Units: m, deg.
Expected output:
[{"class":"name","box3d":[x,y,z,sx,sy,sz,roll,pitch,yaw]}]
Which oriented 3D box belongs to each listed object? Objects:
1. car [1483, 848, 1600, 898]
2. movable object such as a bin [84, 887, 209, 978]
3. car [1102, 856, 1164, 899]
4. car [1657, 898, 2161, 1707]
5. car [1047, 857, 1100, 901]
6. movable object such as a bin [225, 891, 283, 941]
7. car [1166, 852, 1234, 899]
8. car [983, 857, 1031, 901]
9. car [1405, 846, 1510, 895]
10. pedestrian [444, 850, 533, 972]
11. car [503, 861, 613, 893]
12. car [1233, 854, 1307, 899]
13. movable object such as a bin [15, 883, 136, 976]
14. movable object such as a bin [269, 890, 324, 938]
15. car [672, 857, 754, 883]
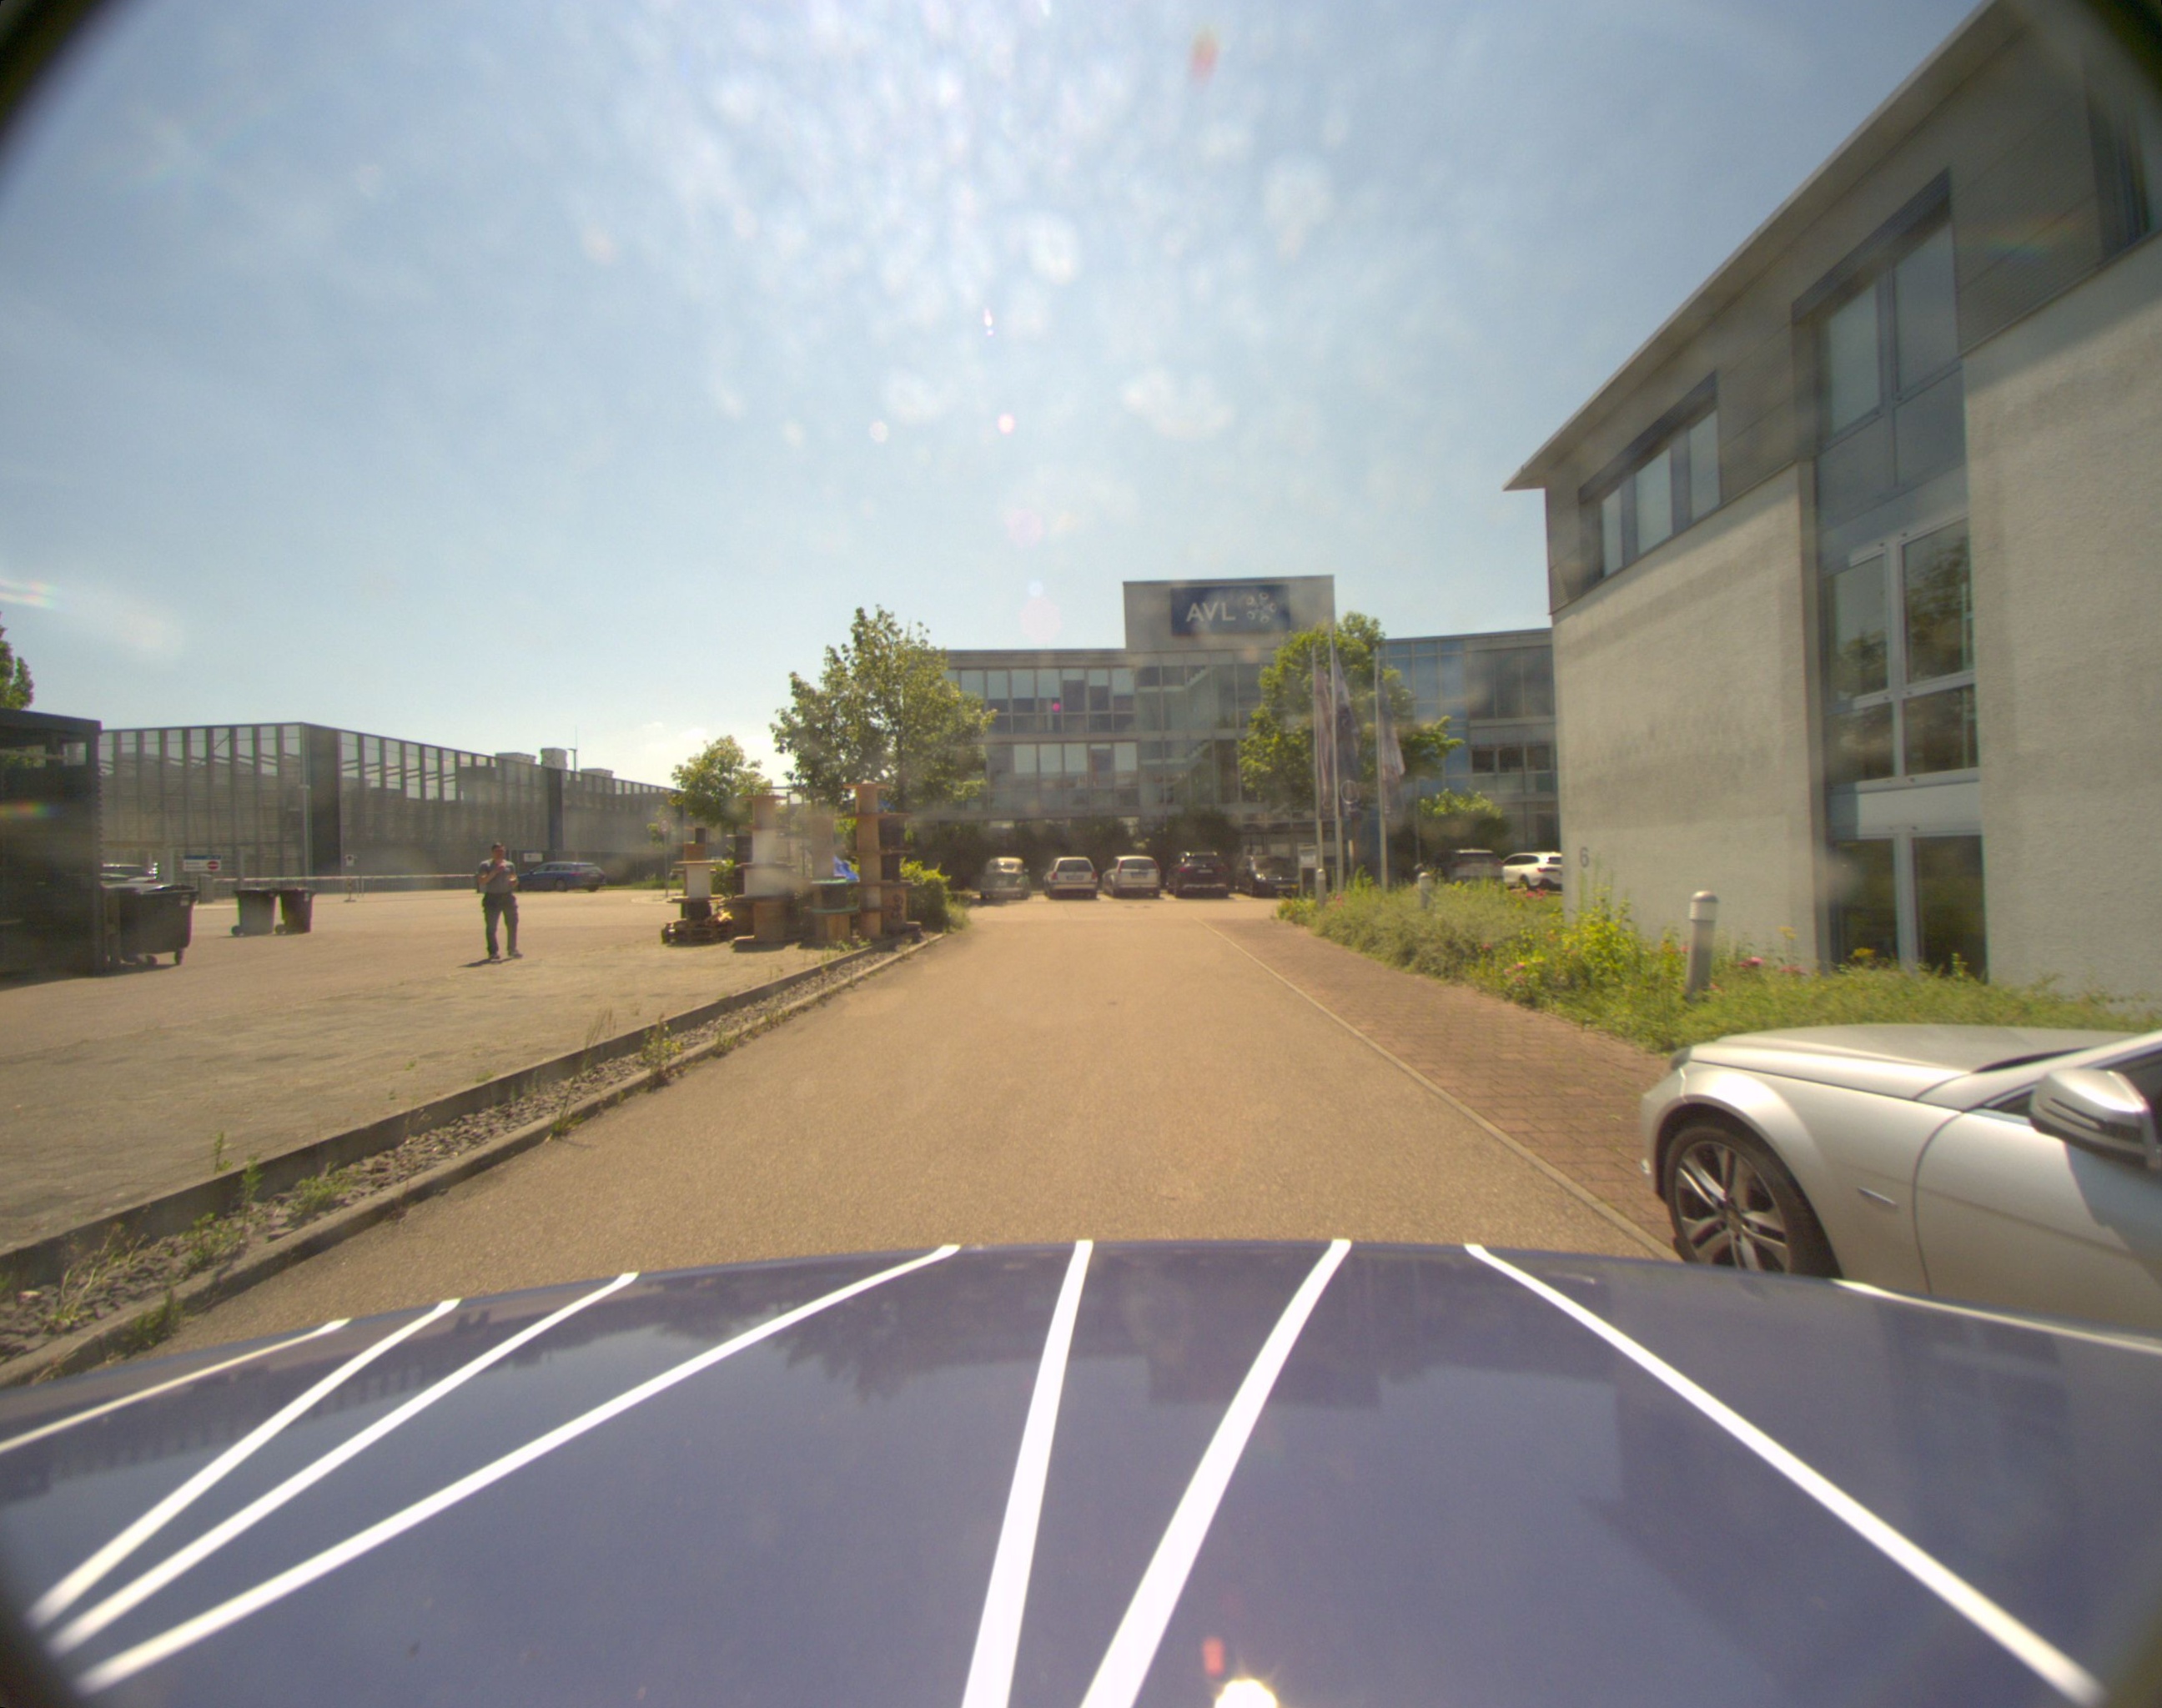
[{"class":"car","box3d":[16.252,0.606,27.080,1.831,1.628,4.172,-1,0,3]},{"class":"movable object such as a bin","box3d":[-13.754,1.133,11.202,0.875,1.242,0.802,0,1,10]},{"class":"car","box3d":[1.875,0.819,28.247,1.732,1.443,3.598,0,1,-5]},{"class":"car","box3d":[2.704,0.885,0.521,1.733,1.448,4.149,-1,0,5]},{"class":"car","box3d":[-0.322,0.849,27.663,1.643,1.443,3.598,0,1,-5]},{"class":"movable object such as a bin","box3d":[-16.491,1.229,15.158,0.586,0.912,0.546,-1,2,-23]},{"class":"car","box3d":[4.298,0.725,28.043,1.938,1.593,3.859,0,1,0]},{"class":"car","box3d":[-2.614,0.846,27.523,1.522,1.437,3.418,0,1,-2]},{"class":"car","box3d":[13.613,0.546,27.740,1.832,1.628,4.171,-1,0,1]},{"class":"pedestrian","box3d":[-8.881,0.817,11.407,0.767,1.758,0.811,0,1,32]},{"class":"car","box3d":[-25.029,1.103,36.419,4.438,1.401,1.861,-1,0,14]},{"class":"car","box3d":[6.868,0.777,28.039,1.729,1.475,4.397,-1,0,2]},{"class":"movable object such as a bin","box3d":[-15.025,1.105,11.372,0.755,1.290,0.802,0,1,10]},{"class":"movable object such as a bin","box3d":[-15.886,1.207,15.400,0.586,0.912,0.546,-1,2,-23]},{"class":"car","box3d":[-22.263,0.979,45.929,4.405,1.467,1.783,-1,0,17]}]
